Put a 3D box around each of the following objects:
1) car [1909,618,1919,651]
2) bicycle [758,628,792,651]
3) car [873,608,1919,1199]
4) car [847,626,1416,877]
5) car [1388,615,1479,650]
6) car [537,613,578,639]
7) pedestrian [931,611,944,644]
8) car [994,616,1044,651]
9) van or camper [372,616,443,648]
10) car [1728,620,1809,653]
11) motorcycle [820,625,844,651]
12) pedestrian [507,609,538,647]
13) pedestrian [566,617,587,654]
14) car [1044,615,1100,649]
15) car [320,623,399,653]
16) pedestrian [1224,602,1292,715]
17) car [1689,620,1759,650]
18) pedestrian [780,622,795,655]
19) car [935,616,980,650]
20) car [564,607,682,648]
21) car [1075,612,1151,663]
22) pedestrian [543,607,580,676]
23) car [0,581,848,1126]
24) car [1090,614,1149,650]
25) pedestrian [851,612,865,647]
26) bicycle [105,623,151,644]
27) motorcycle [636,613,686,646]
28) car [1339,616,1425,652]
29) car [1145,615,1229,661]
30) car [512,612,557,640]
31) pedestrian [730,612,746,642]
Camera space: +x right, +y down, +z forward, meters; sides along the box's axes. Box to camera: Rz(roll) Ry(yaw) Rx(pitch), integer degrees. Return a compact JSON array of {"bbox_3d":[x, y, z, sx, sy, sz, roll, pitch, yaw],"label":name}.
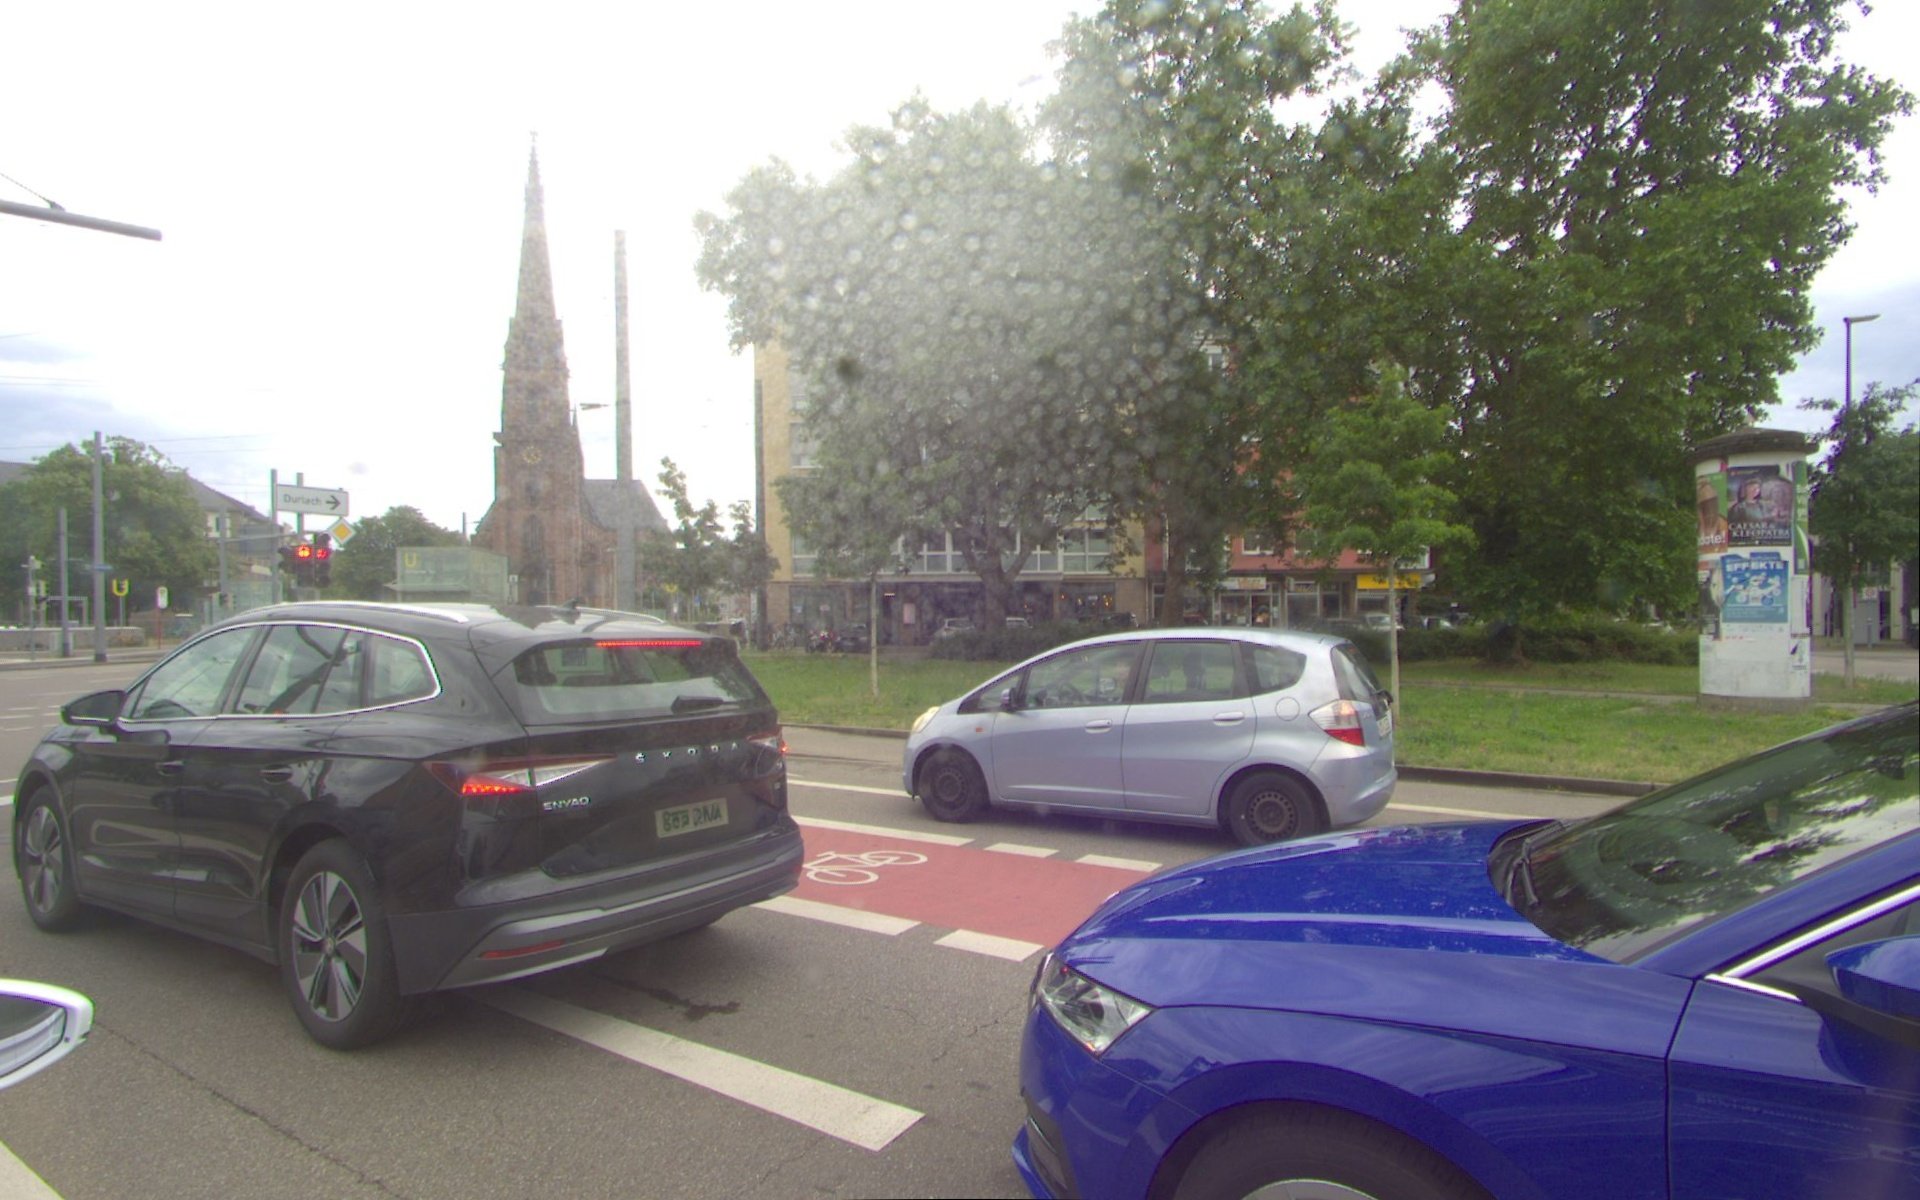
[{"bbox_3d":[46.499,1.608,46.344,1.865,1.568,4.469,-2,-1,17],"label":"car"},{"bbox_3d":[-7.455,1.599,40.457,1.240,0.929,0.595,0,0,2],"label":"bicycle"},{"bbox_3d":[2.146,0.764,1.685,4.402,1.508,1.776,-1,-1,32],"label":"car"},{"bbox_3d":[1.245,0.955,7.815,4.039,1.486,1.746,-1,-1,32],"label":"car"},{"bbox_3d":[21.969,1.479,46.682,1.825,1.568,4.476,0,-1,-5],"label":"car"},{"bbox_3d":[-32.565,2.055,81.046,1.961,2.040,4.000,0,-1,-5],"label":"car"},{"bbox_3d":[-1.135,1.370,50.231,0.625,1.659,0.872,0,0,0],"label":"pedestrian"},{"bbox_3d":[2.662,1.509,46.199,1.825,1.509,4.476,0,-1,-3],"label":"car"},{"bbox_3d":[-33.028,1.890,60.003,1.961,1.764,4.305,-2,-1,-3],"label":"van or camper"},{"bbox_3d":[43.521,1.960,54.020,1.828,1.644,4.469,-2,-1,17],"label":"car"},{"bbox_3d":[-5.082,1.484,39.678,0.858,1.010,1.014,0,-1,-14],"label":"motorcycle"},{"bbox_3d":[-21.012,1.343,48.121,1.066,1.820,0.947,-1,-1,-1],"label":"pedestrian"},{"bbox_3d":[-17.604,1.622,46.020,0.625,1.659,0.872,0,0,-1],"label":"pedestrian"},{"bbox_3d":[5.135,1.465,46.502,1.825,1.509,4.476,0,-1,-3],"label":"car"},{"bbox_3d":[-32.237,2.024,53.863,1.740,1.483,4.001,-2,-1,1],"label":"car"},{"bbox_3d":[5.029,0.968,16.913,0.968,1.868,0.536,0,0,-11],"label":"pedestrian"},{"bbox_3d":[45.358,2.037,59.559,1.828,1.644,4.469,-2,-1,17],"label":"car"},{"bbox_3d":[-8.670,1.927,50.388,0.625,1.659,0.872,0,0,-1],"label":"pedestrian"},{"bbox_3d":[-0.155,1.498,46.152,1.825,1.509,4.476,0,-1,-3],"label":"car"},{"bbox_3d":[-18.104,1.481,53.942,5.674,2.039,2.011,-1,-1,-40],"label":"car"},{"bbox_3d":[5.493,1.328,36.476,1.825,1.745,4.476,0,-1,-3],"label":"car"},{"bbox_3d":[-11.430,1.178,28.743,0.874,1.956,1.016,0,0,-16],"label":"pedestrian"},{"bbox_3d":[-2.849,0.796,4.901,4.444,1.617,1.774,-1,-1,31],"label":"car"},{"bbox_3d":[7.375,1.465,46.696,1.825,1.568,4.476,0,-1,-3],"label":"car"},{"bbox_3d":[-4.980,1.436,48.994,0.625,1.659,0.872,0,0,0],"label":"pedestrian"},{"bbox_3d":[-55.440,2.227,66.740,0.699,1.348,2.252,-2,-1,39],"label":"bicycle"},{"bbox_3d":[-11.122,1.091,37.334,0.753,1.183,2.385,0,-1,12],"label":"motorcycle"},{"bbox_3d":[19.503,1.542,46.447,1.825,1.568,4.476,0,-1,-5],"label":"car"},{"bbox_3d":[8.228,1.345,36.674,1.825,1.568,4.476,0,-1,-3],"label":"car"},{"bbox_3d":[-32.477,1.975,76.494,1.961,2.040,4.000,0,-1,-5],"label":"car"},{"bbox_3d":[-12.301,1.505,55.432,0.771,1.659,0.637,0,0,-4],"label":"pedestrian"}]
